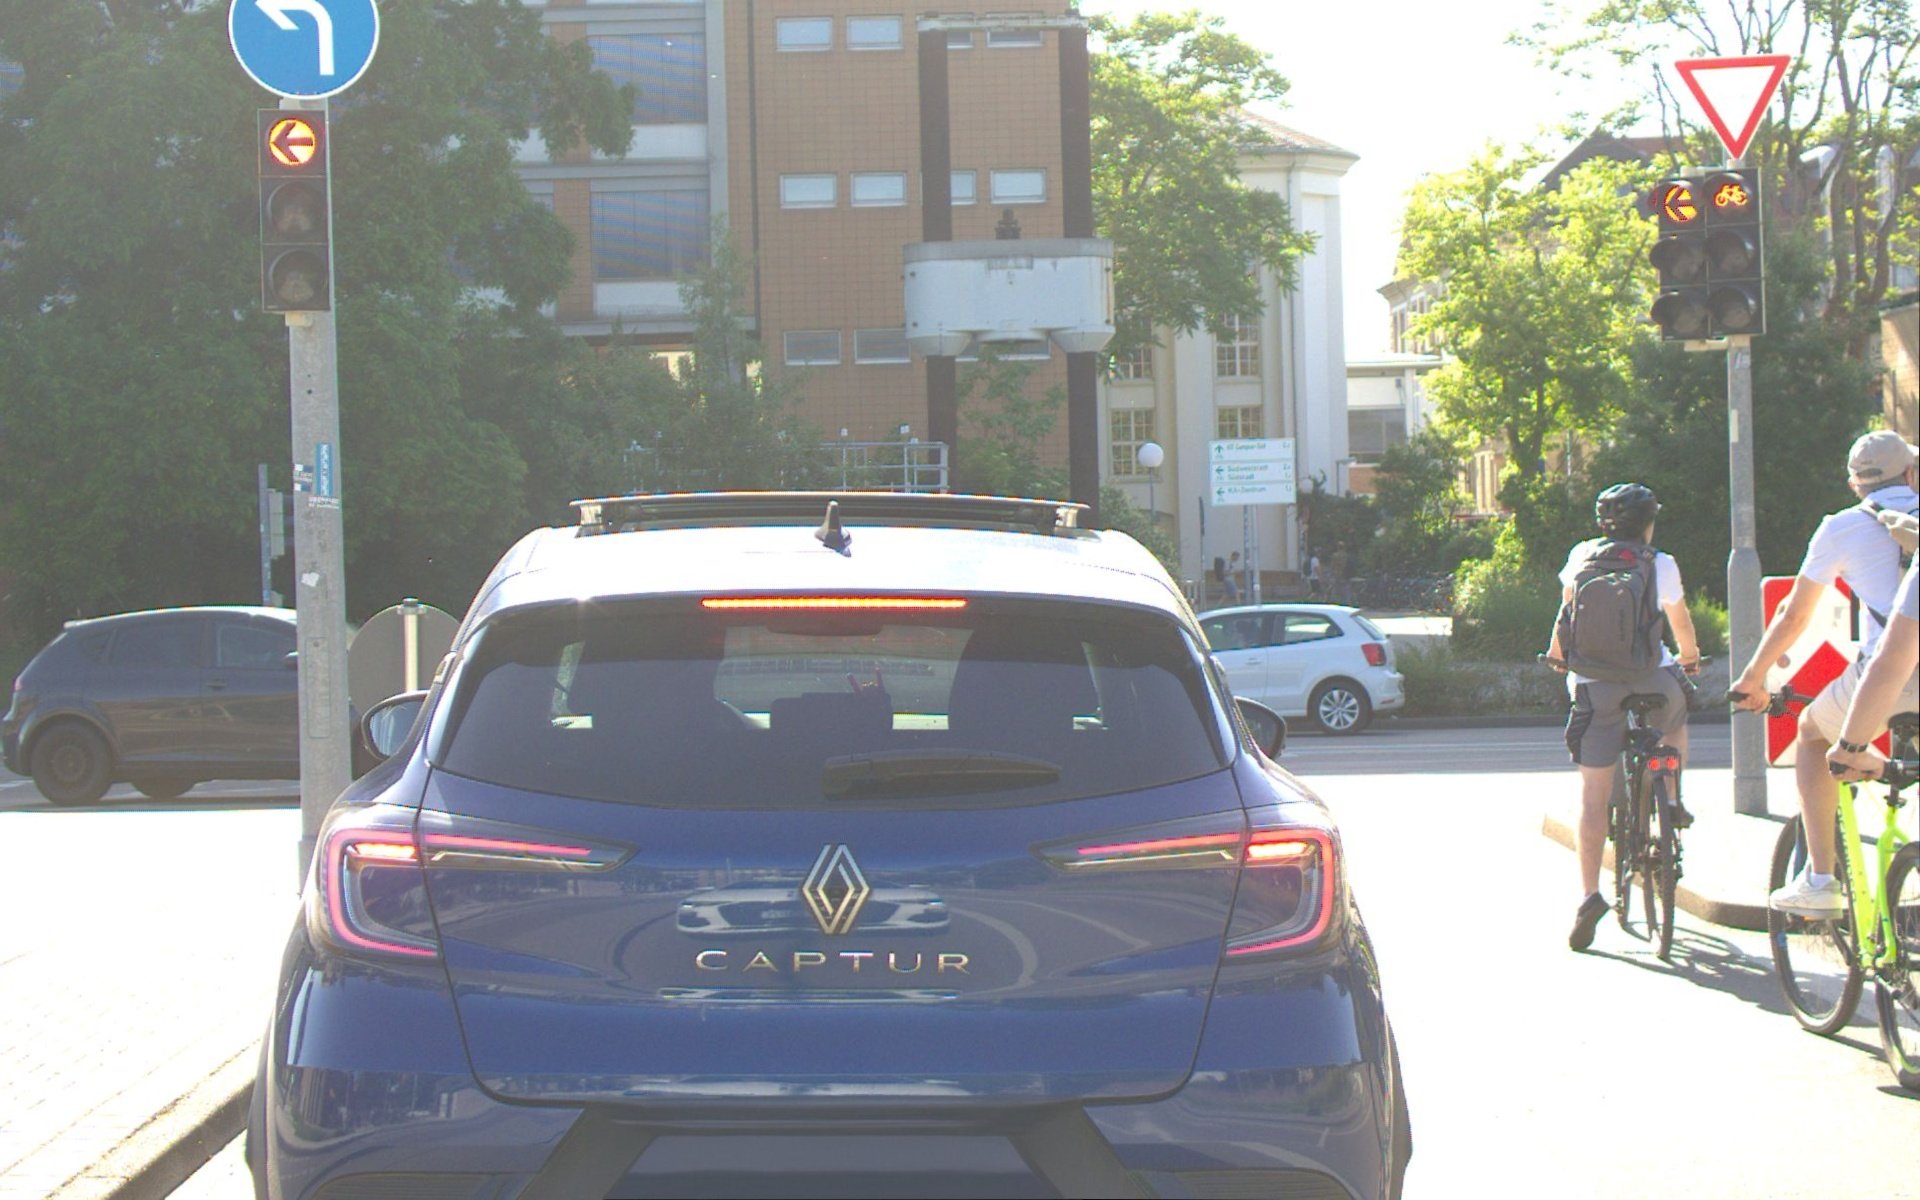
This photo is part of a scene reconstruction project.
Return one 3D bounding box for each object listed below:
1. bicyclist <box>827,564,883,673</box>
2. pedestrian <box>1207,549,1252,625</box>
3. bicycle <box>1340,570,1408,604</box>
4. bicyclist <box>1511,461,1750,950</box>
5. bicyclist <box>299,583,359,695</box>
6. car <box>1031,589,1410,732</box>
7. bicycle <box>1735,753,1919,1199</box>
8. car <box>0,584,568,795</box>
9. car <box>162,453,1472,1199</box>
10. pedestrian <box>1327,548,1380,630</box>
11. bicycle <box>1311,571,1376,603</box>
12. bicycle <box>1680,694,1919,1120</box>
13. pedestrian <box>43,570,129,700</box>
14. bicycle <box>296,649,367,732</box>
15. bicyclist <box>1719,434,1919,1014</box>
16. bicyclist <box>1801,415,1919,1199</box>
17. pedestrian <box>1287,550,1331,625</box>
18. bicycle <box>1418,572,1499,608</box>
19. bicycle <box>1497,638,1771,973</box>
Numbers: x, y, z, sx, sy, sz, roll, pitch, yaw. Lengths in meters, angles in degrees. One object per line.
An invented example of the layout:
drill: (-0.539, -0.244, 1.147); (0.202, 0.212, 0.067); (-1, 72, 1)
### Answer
bicyclist: (-1.378, 0.243, 45.231); (0.637, 1.407, 0.649); (-1, 1, 5)
pedestrian: (7.206, -0.356, 91.917); (1.151, 2.007, 0.951); (-1, 1, 6)
bicycle: (11.409, -0.351, 94.846); (1.771, 0.895, 0.765); (-1, 1, 0)
bicyclist: (2.523, 0.384, 13.021); (0.676, 1.779, 0.940); (1, 0, -2)
bicyclist: (-8.072, 0.502, 43.978); (0.647, 1.407, 0.639); (-1, -2, -16)
car: (2.906, 0.681, 38.054); (3.956, 1.486, 1.810); (-1, -1, 12)
bicycle: (2.264, 0.904, 7.271); (0.747, 1.047, 1.903); (-1, 1, -2)
car: (-5.199, 0.661, 25.916); (3.989, 1.385, 1.999); (-2, 1, 12)
car: (-0.248, 0.594, 6.660); (1.794, 1.649, 3.853); (0, 1, -2)
pedestrian: (9.878, -0.285, 86.302); (1.156, 2.007, 1.164); (-1, 1, 0)
bicycle: (11.071, -0.381, 99.210); (1.771, 0.890, 0.765); (-1, 1, 0)
bicycle: (2.658, 0.839, 9.998); (0.671, 1.047, 1.844); (1, 1, -2)
pedestrian: (-12.639, 0.496, 49.724); (0.932, 1.849, 0.807); (-1, 1, 9)
bicycle: (-8.026, 1.169, 43.864); (0.698, 1.004, 1.868); (-2, -2, -16)
bicyclist: (2.669, 0.334, 9.908); (0.674, 1.577, 1.081); (1, 1, -1)
bicyclist: (2.259, 0.456, 7.175); (0.740, 1.668, 0.866); (-1, 1, -2)
pedestrian: (9.520, -0.344, 93.738); (1.151, 2.007, 0.951); (-1, 1, 6)
bicycle: (12.039, -0.237, 83.044); (1.770, 0.820, 0.766); (-1, 1, -10)
bicycle: (2.520, 0.735, 13.038); (0.615, 1.134, 1.826); (0, 1, -2)
